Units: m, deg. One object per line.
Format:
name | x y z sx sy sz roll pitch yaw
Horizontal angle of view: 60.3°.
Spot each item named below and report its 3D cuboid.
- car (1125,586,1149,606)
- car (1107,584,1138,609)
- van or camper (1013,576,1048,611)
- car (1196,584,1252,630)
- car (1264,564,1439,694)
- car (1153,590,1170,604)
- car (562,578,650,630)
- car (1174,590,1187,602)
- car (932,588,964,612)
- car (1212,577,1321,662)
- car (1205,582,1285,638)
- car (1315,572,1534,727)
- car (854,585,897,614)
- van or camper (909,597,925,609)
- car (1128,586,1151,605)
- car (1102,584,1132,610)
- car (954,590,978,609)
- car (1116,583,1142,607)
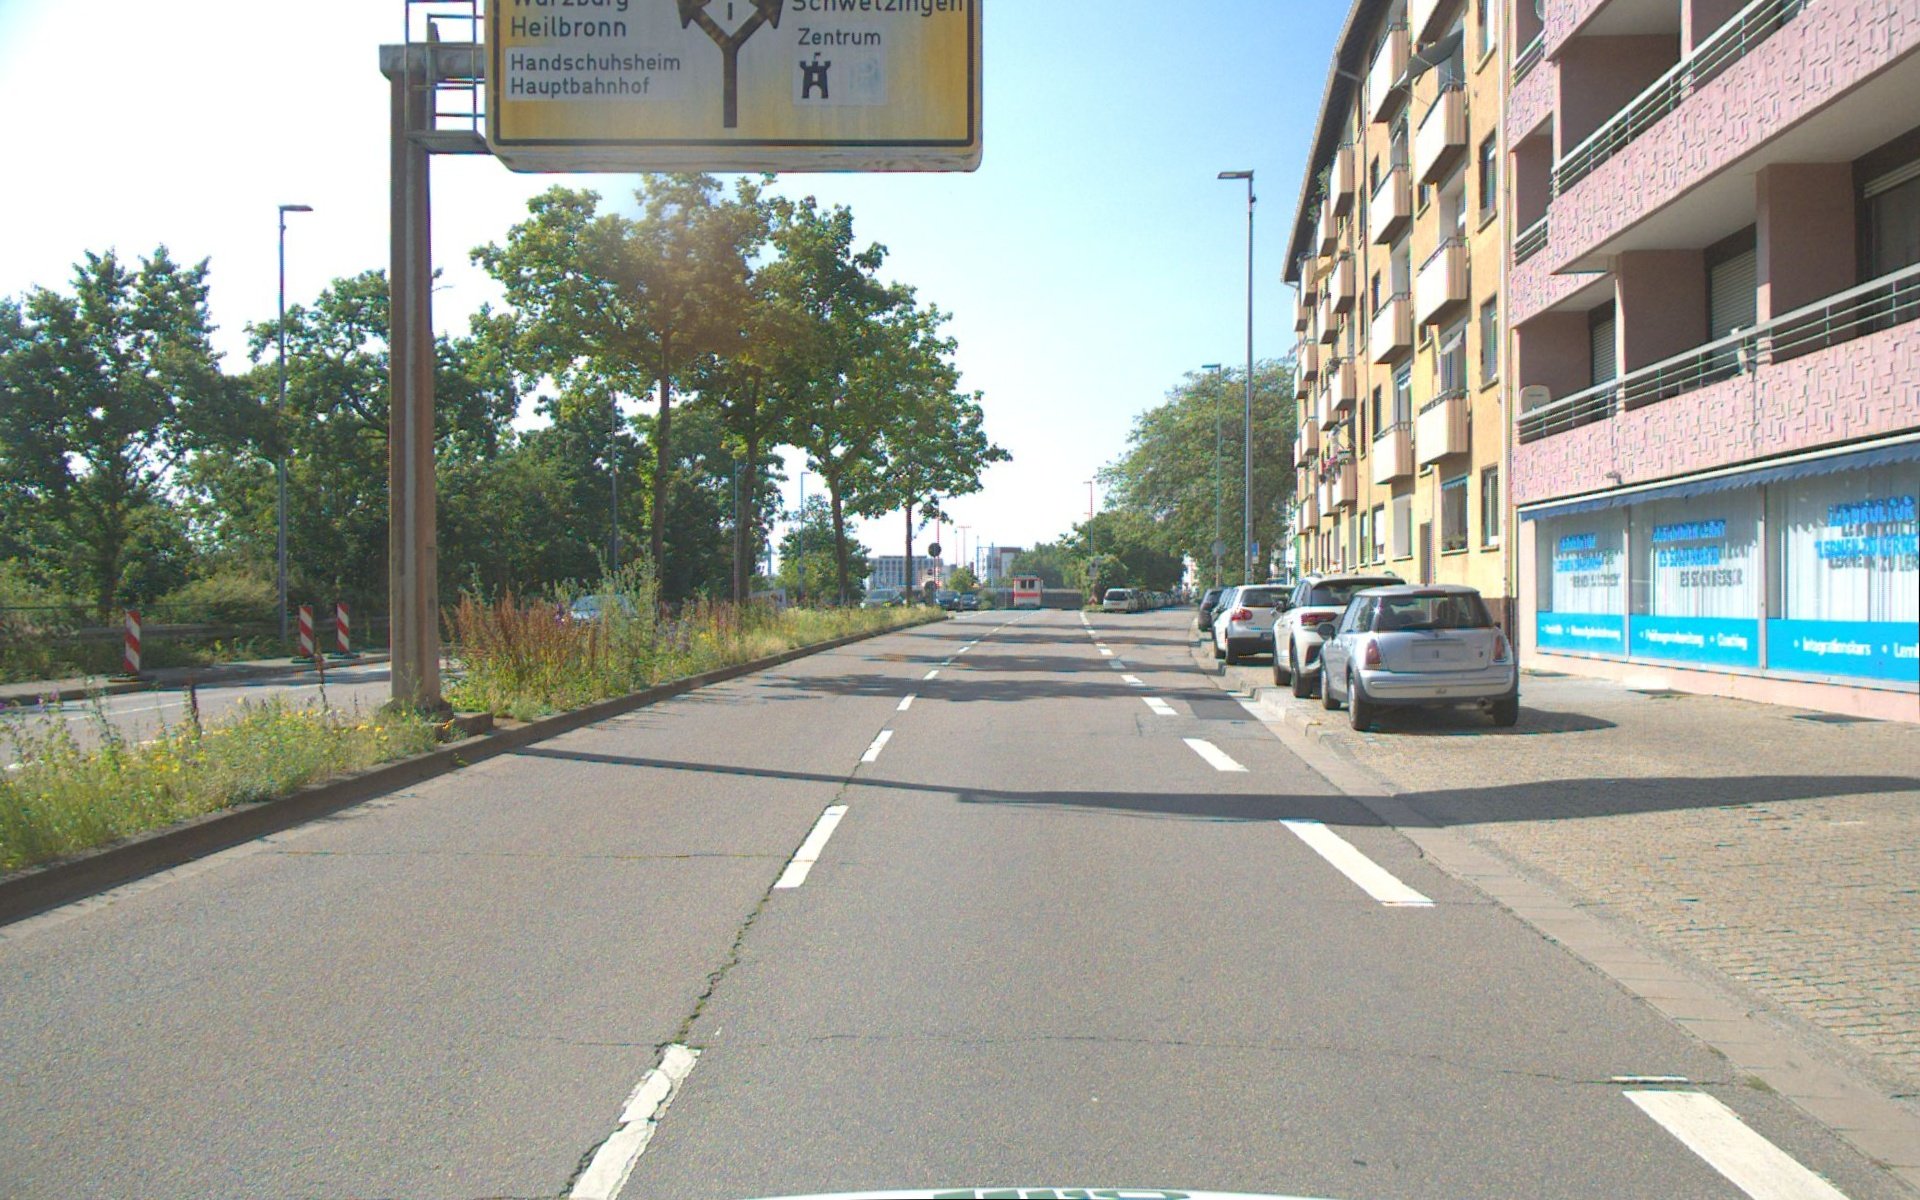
car | 13.873 -0.303 129.406 1.628 1.499 3.793 2 1 9
car | 10.675 -0.249 108.449 1.684 1.531 4.136 -1 0 9
van or camper | 5.792 -0.515 134.793 2.247 2.838 5.575 0 0 8
car | 9.071 0.208 57.086 1.674 1.487 4.259 -1 0 6
car | 5.238 0.342 22.625 1.699 1.568 4.356 -1 0 5
car | 22.882 -0.372 187.828 1.628 1.536 4.012 2 1 9
car | -10.817 0.101 50.725 1.611 1.441 3.972 -3 1 2
car | 33.317 -0.582 249.963 1.951 1.686 4.003 0 0 8
car | -0.774 -0.001 110.287 1.726 1.500 4.087 -1 0 5
car | 6.033 0.340 32.898 1.719 1.532 4.130 -1 1 5
car | 7.909 0.241 46.259 1.762 1.463 4.593 -1 0 5
car | 4.902 0.477 17.869 1.643 1.433 3.433 -3 0 6
car | -4.517 -0.036 88.712 1.760 1.557 4.002 0 0 5
van or camper | -5.069 0.305 195.624 1.436 1.373 4.632 0 0 3
car | 14.713 -0.382 135.186 1.628 1.538 3.793 2 1 9
car | 9.885 -0.207 103.891 1.585 1.531 3.464 -1 0 9
car | 0.593 -0.066 153.991 1.951 1.764 4.732 0 0 4
car | 11.647 -0.338 113.876 1.734 1.607 4.189 -1 0 6
